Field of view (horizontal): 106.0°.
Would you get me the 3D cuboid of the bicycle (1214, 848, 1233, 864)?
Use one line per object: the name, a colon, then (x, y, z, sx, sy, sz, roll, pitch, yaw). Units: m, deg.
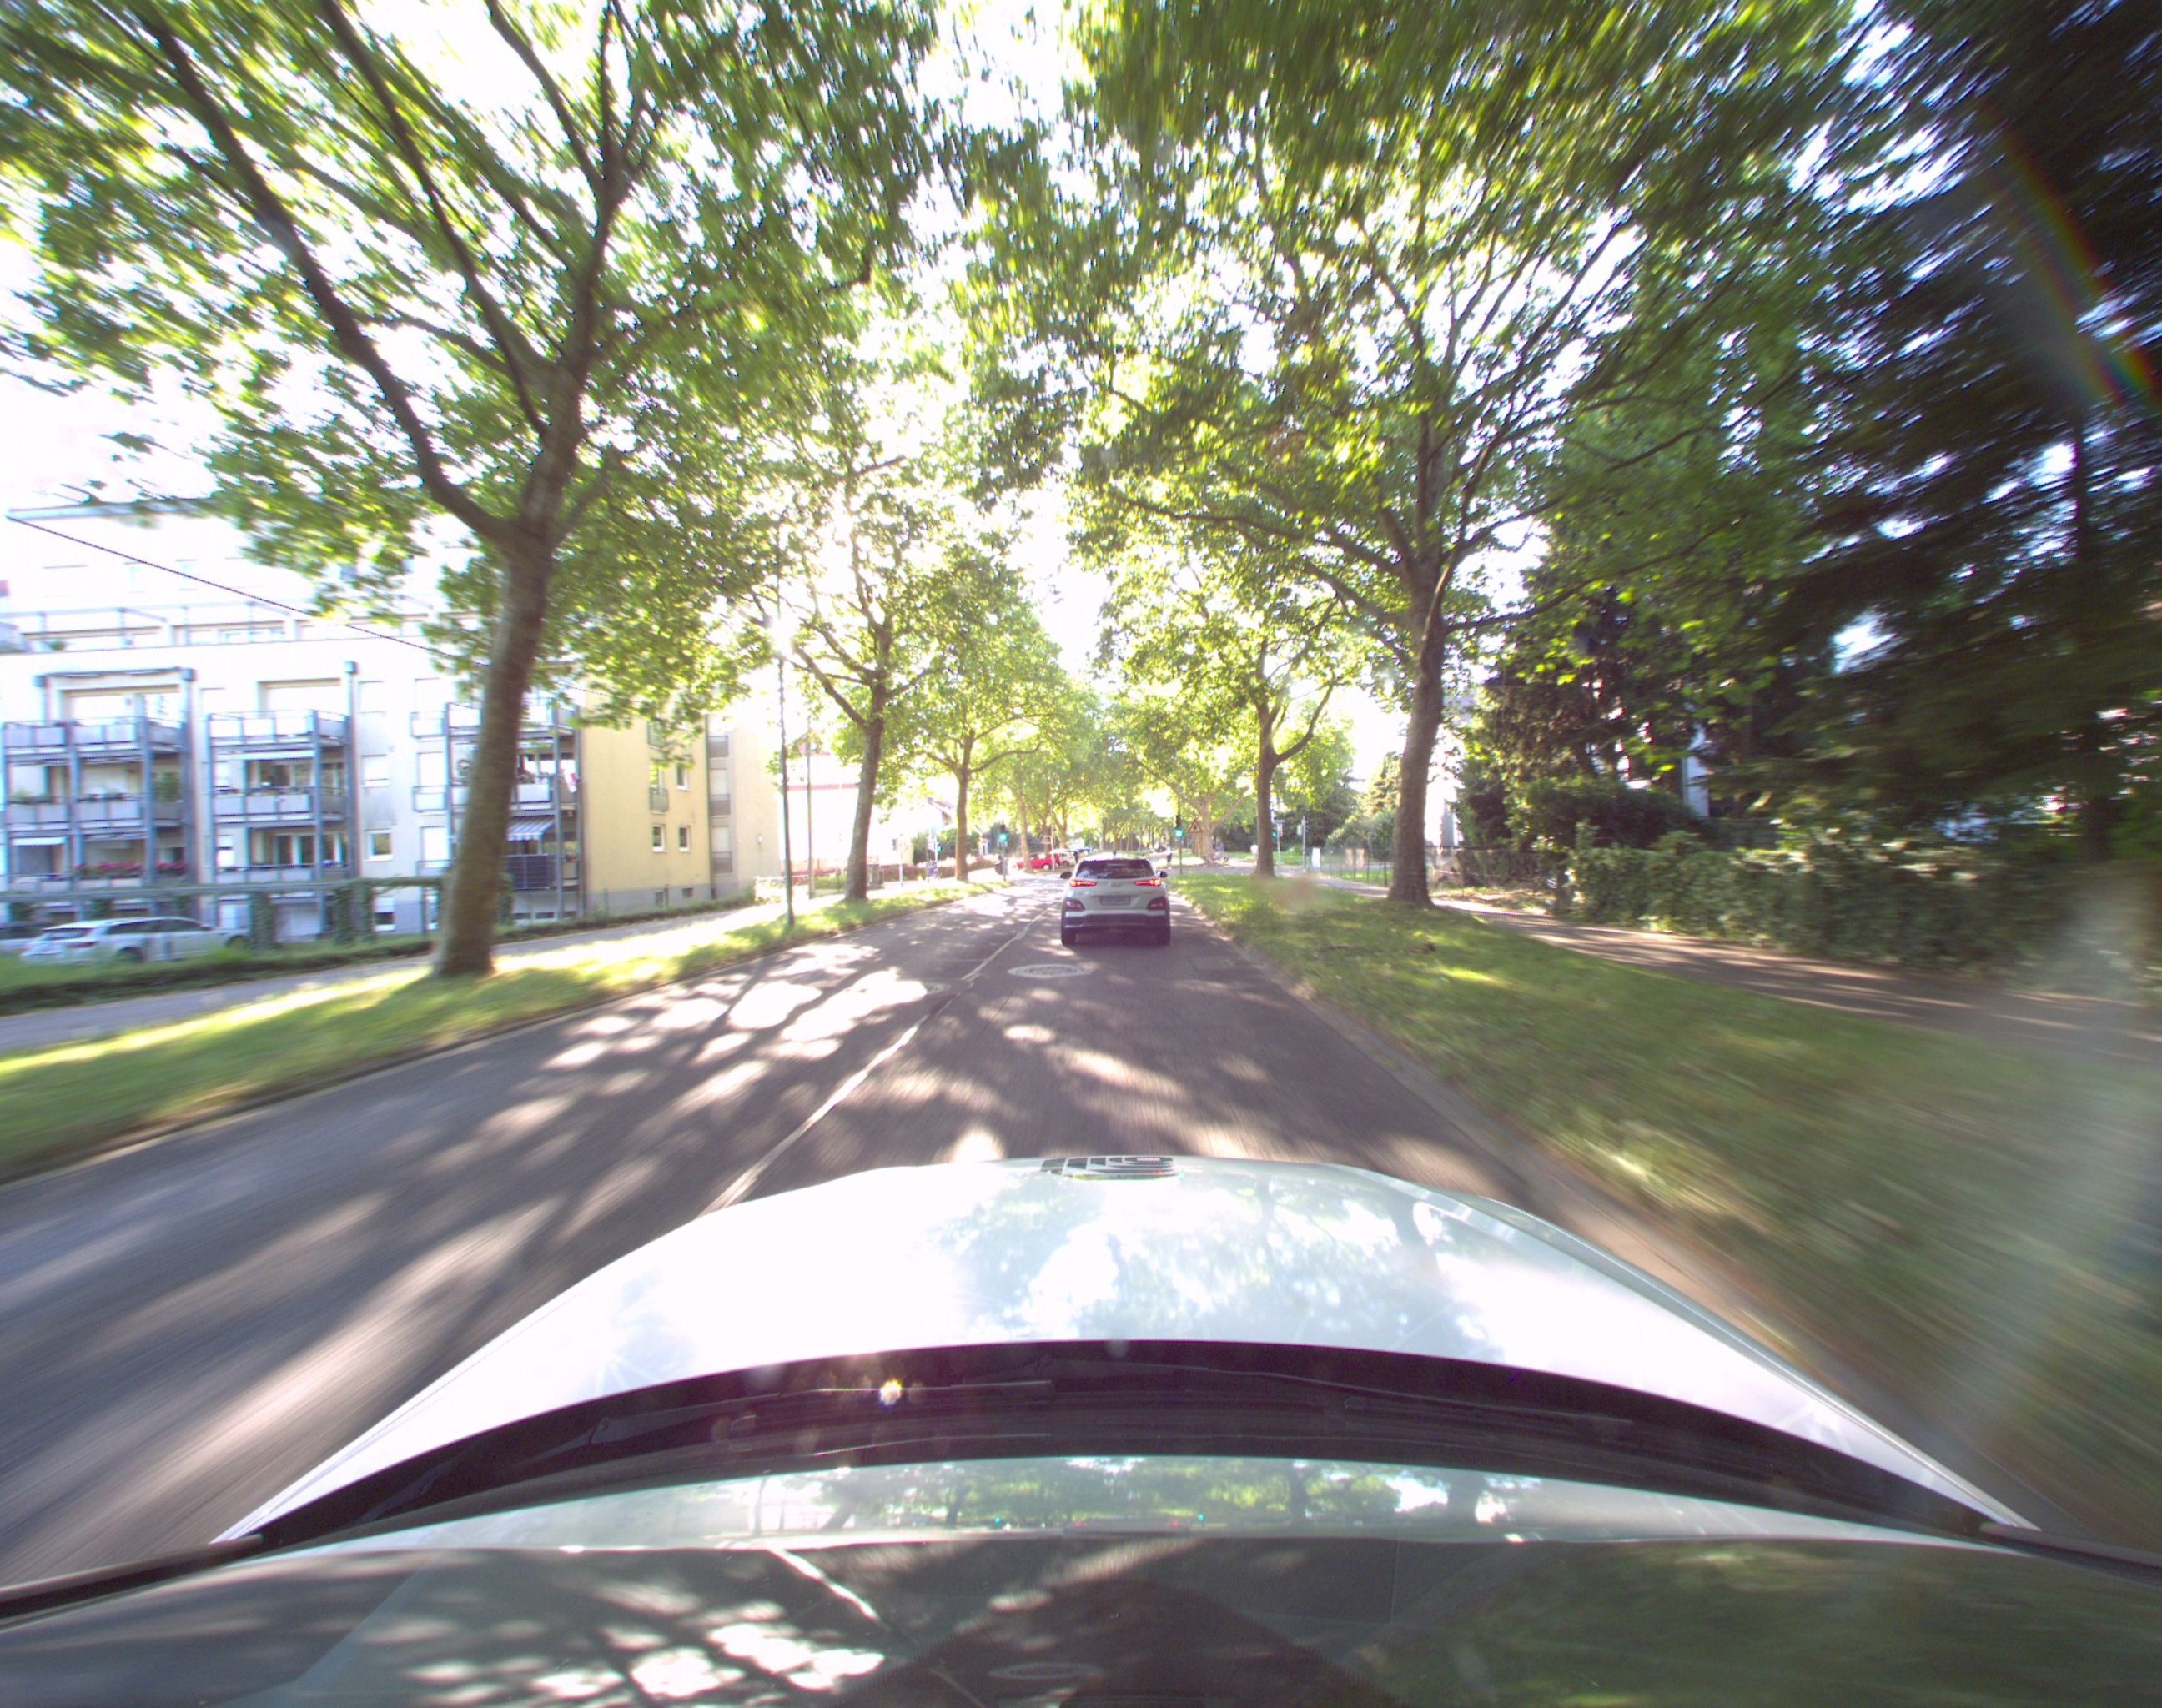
bicycle: (11.190, 0.157, 64.071, 0.604, 1.183, 2.107, -1, 0, -16)

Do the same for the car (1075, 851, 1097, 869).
car: (0.467, 0.475, 69.249, 1.681, 1.437, 3.686, -1, 1, 4)

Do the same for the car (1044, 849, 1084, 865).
car: (-1.772, 0.313, 84.572, 3.970, 1.478, 2.002, -1, 0, 3)

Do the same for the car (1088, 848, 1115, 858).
car: (3.162, -0.165, 123.540, 3.970, 1.478, 2.002, -1, 0, 3)

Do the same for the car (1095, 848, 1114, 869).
car: (2.281, 0.421, 78.691, 1.784, 1.882, 4.003, -1, 0, 3)

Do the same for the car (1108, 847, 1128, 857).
car: (7.299, -0.356, 161.486, 3.665, 1.808, 1.745, -1, 0, -6)

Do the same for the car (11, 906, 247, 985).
car: (-26.784, 2.496, 23.161, 1.988, 1.713, 3.998, -1, 1, -1)

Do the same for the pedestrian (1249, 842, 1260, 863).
pedestrian: (14.160, -0.128, 66.494, 0.828, 1.736, 0.888, -1, -1, 11)

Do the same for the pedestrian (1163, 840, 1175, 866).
pedestrian: (7.041, -0.063, 64.872, 0.862, 2.014, 0.816, -1, -1, 11)

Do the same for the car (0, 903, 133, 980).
car: (-29.970, 2.468, 22.876, 1.842, 1.846, 4.002, -1, 1, 2)

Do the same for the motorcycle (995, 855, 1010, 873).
motorcycle: (-6.339, 0.780, 65.815, 0.842, 1.378, 2.778, -1, 0, 3)

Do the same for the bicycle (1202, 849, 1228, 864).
bicycle: (10.346, 0.221, 63.038, 0.608, 1.164, 2.124, 0, -1, -40)

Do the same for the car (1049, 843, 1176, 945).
car: (0.595, 0.639, 14.893, 1.985, 1.574, 4.003, -1, 0, 3)

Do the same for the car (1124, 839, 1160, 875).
car: (3.624, 0.146, 48.958, 1.986, 2.013, 4.003, -1, 0, 2)

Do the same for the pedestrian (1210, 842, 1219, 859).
pedestrian: (16.412, -0.414, 100.233, 1.088, 2.013, 1.108, -1, 0, 9)

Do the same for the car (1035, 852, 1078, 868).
car: (-2.354, 0.604, 80.055, 3.968, 1.478, 2.003, -1, 0, 4)

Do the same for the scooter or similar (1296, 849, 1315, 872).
scooter or similar: (12.361, 0.353, 44.952, 0.547, 1.258, 2.316, -1, 0, 4)

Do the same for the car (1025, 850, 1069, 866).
car: (-3.260, 0.358, 77.861, 3.970, 1.478, 2.002, -1, 0, 3)

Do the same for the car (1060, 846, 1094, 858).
car: (-0.462, -0.231, 99.709, 3.970, 1.478, 2.002, -1, 0, 3)

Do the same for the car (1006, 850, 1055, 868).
car: (-4.368, 0.406, 70.327, 3.970, 1.478, 2.002, -1, 0, 3)
